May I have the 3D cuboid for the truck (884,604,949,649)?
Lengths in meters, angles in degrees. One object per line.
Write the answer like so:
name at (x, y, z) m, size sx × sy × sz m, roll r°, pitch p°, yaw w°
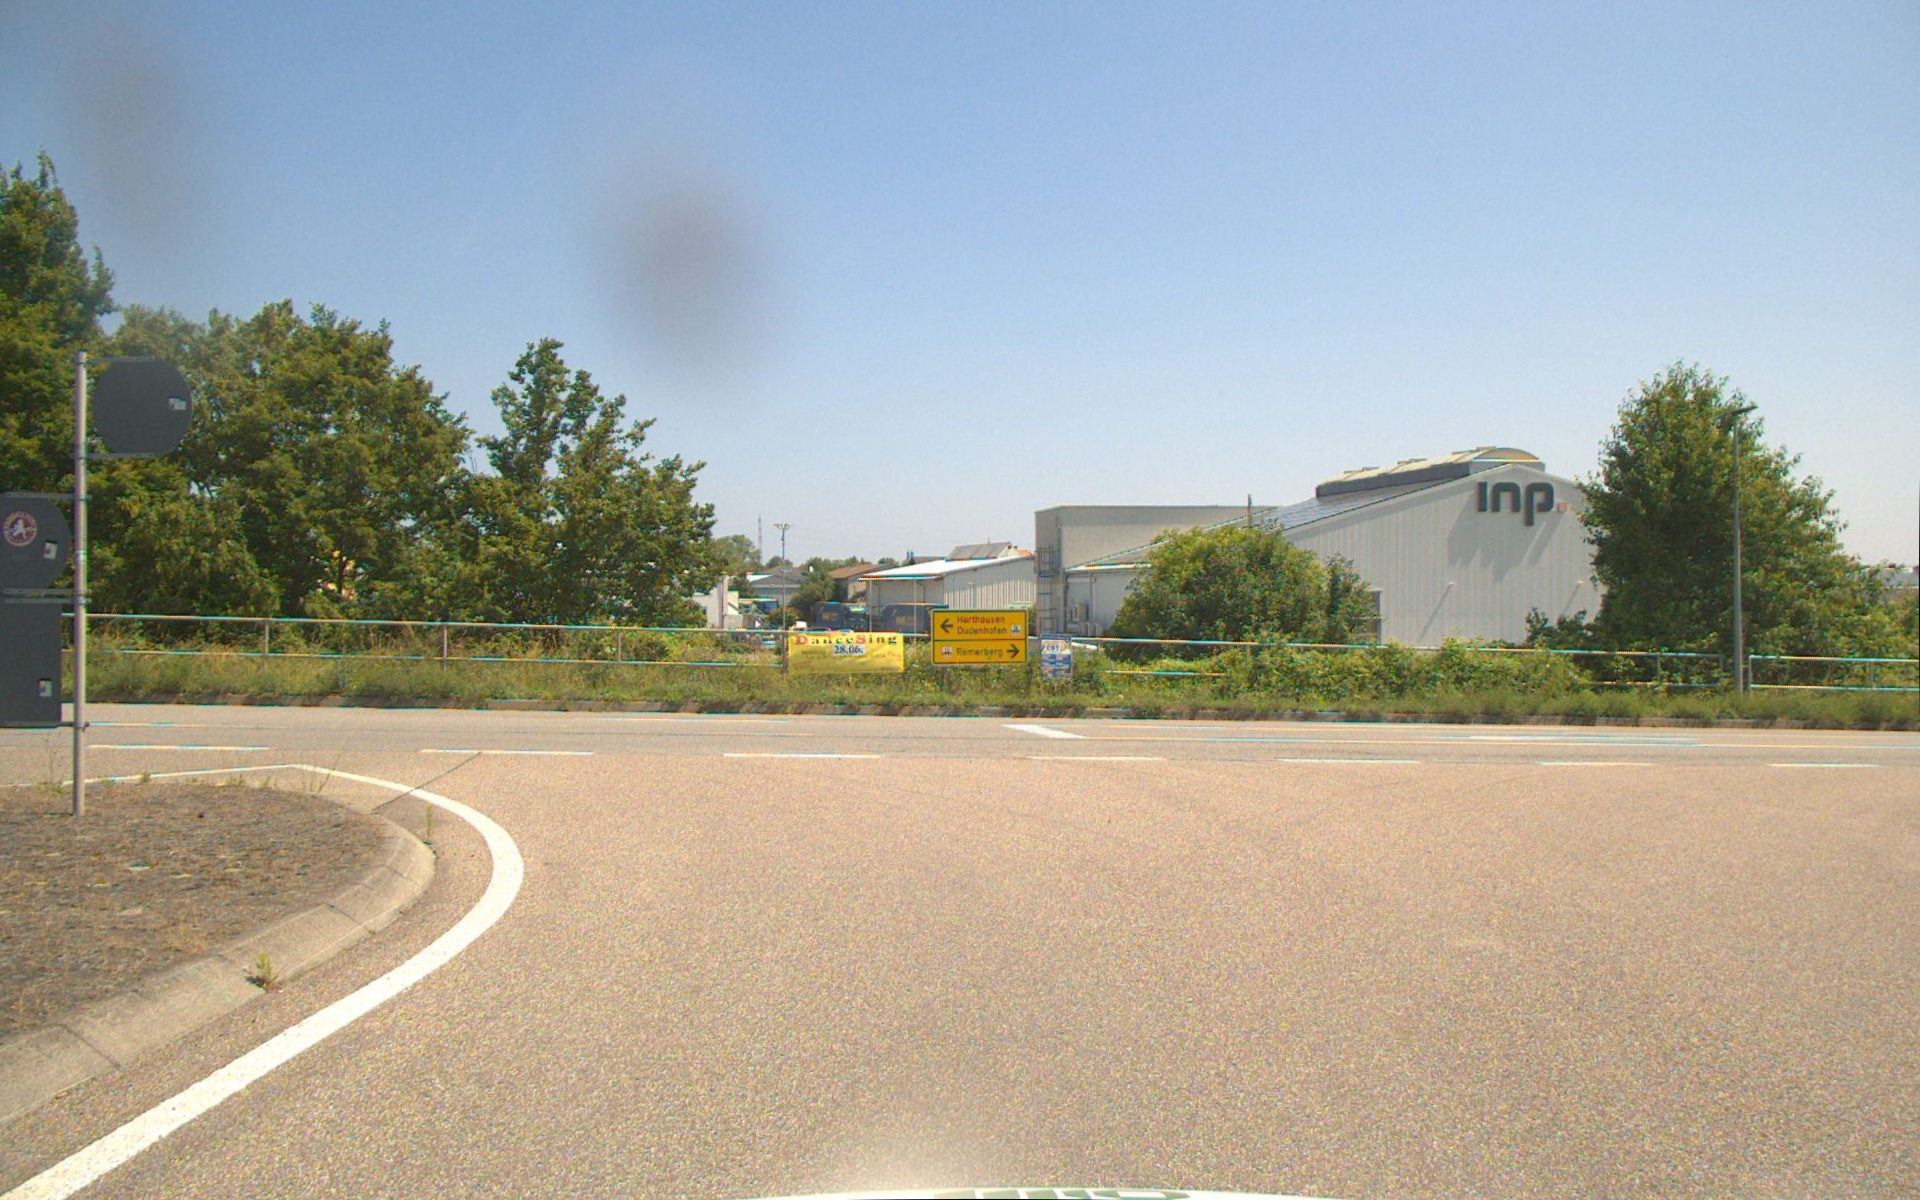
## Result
truck at (-4.489, 2.611, 167.240) m, size 3.646 × 4.386 × 13.290 m, roll 1°, pitch -1°, yaw -14°

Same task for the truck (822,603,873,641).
truck at (-13.734, 2.632, 200.217) m, size 3.356 × 4.386 × 14.531 m, roll 1°, pitch -1°, yaw -15°

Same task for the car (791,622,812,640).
car at (-18.120, 3.543, 188.952) m, size 1.689 × 2.049 × 3.982 m, roll 1°, pitch -1°, yaw -16°

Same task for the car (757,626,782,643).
car at (-20.975, 3.817, 181.939) m, size 1.962 × 1.761 × 4.841 m, roll 2°, pitch -1°, yaw -17°

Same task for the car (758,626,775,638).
car at (-22.313, 3.659, 190.496) m, size 1.428 × 1.374 × 3.300 m, roll 1°, pitch -1°, yaw -17°
